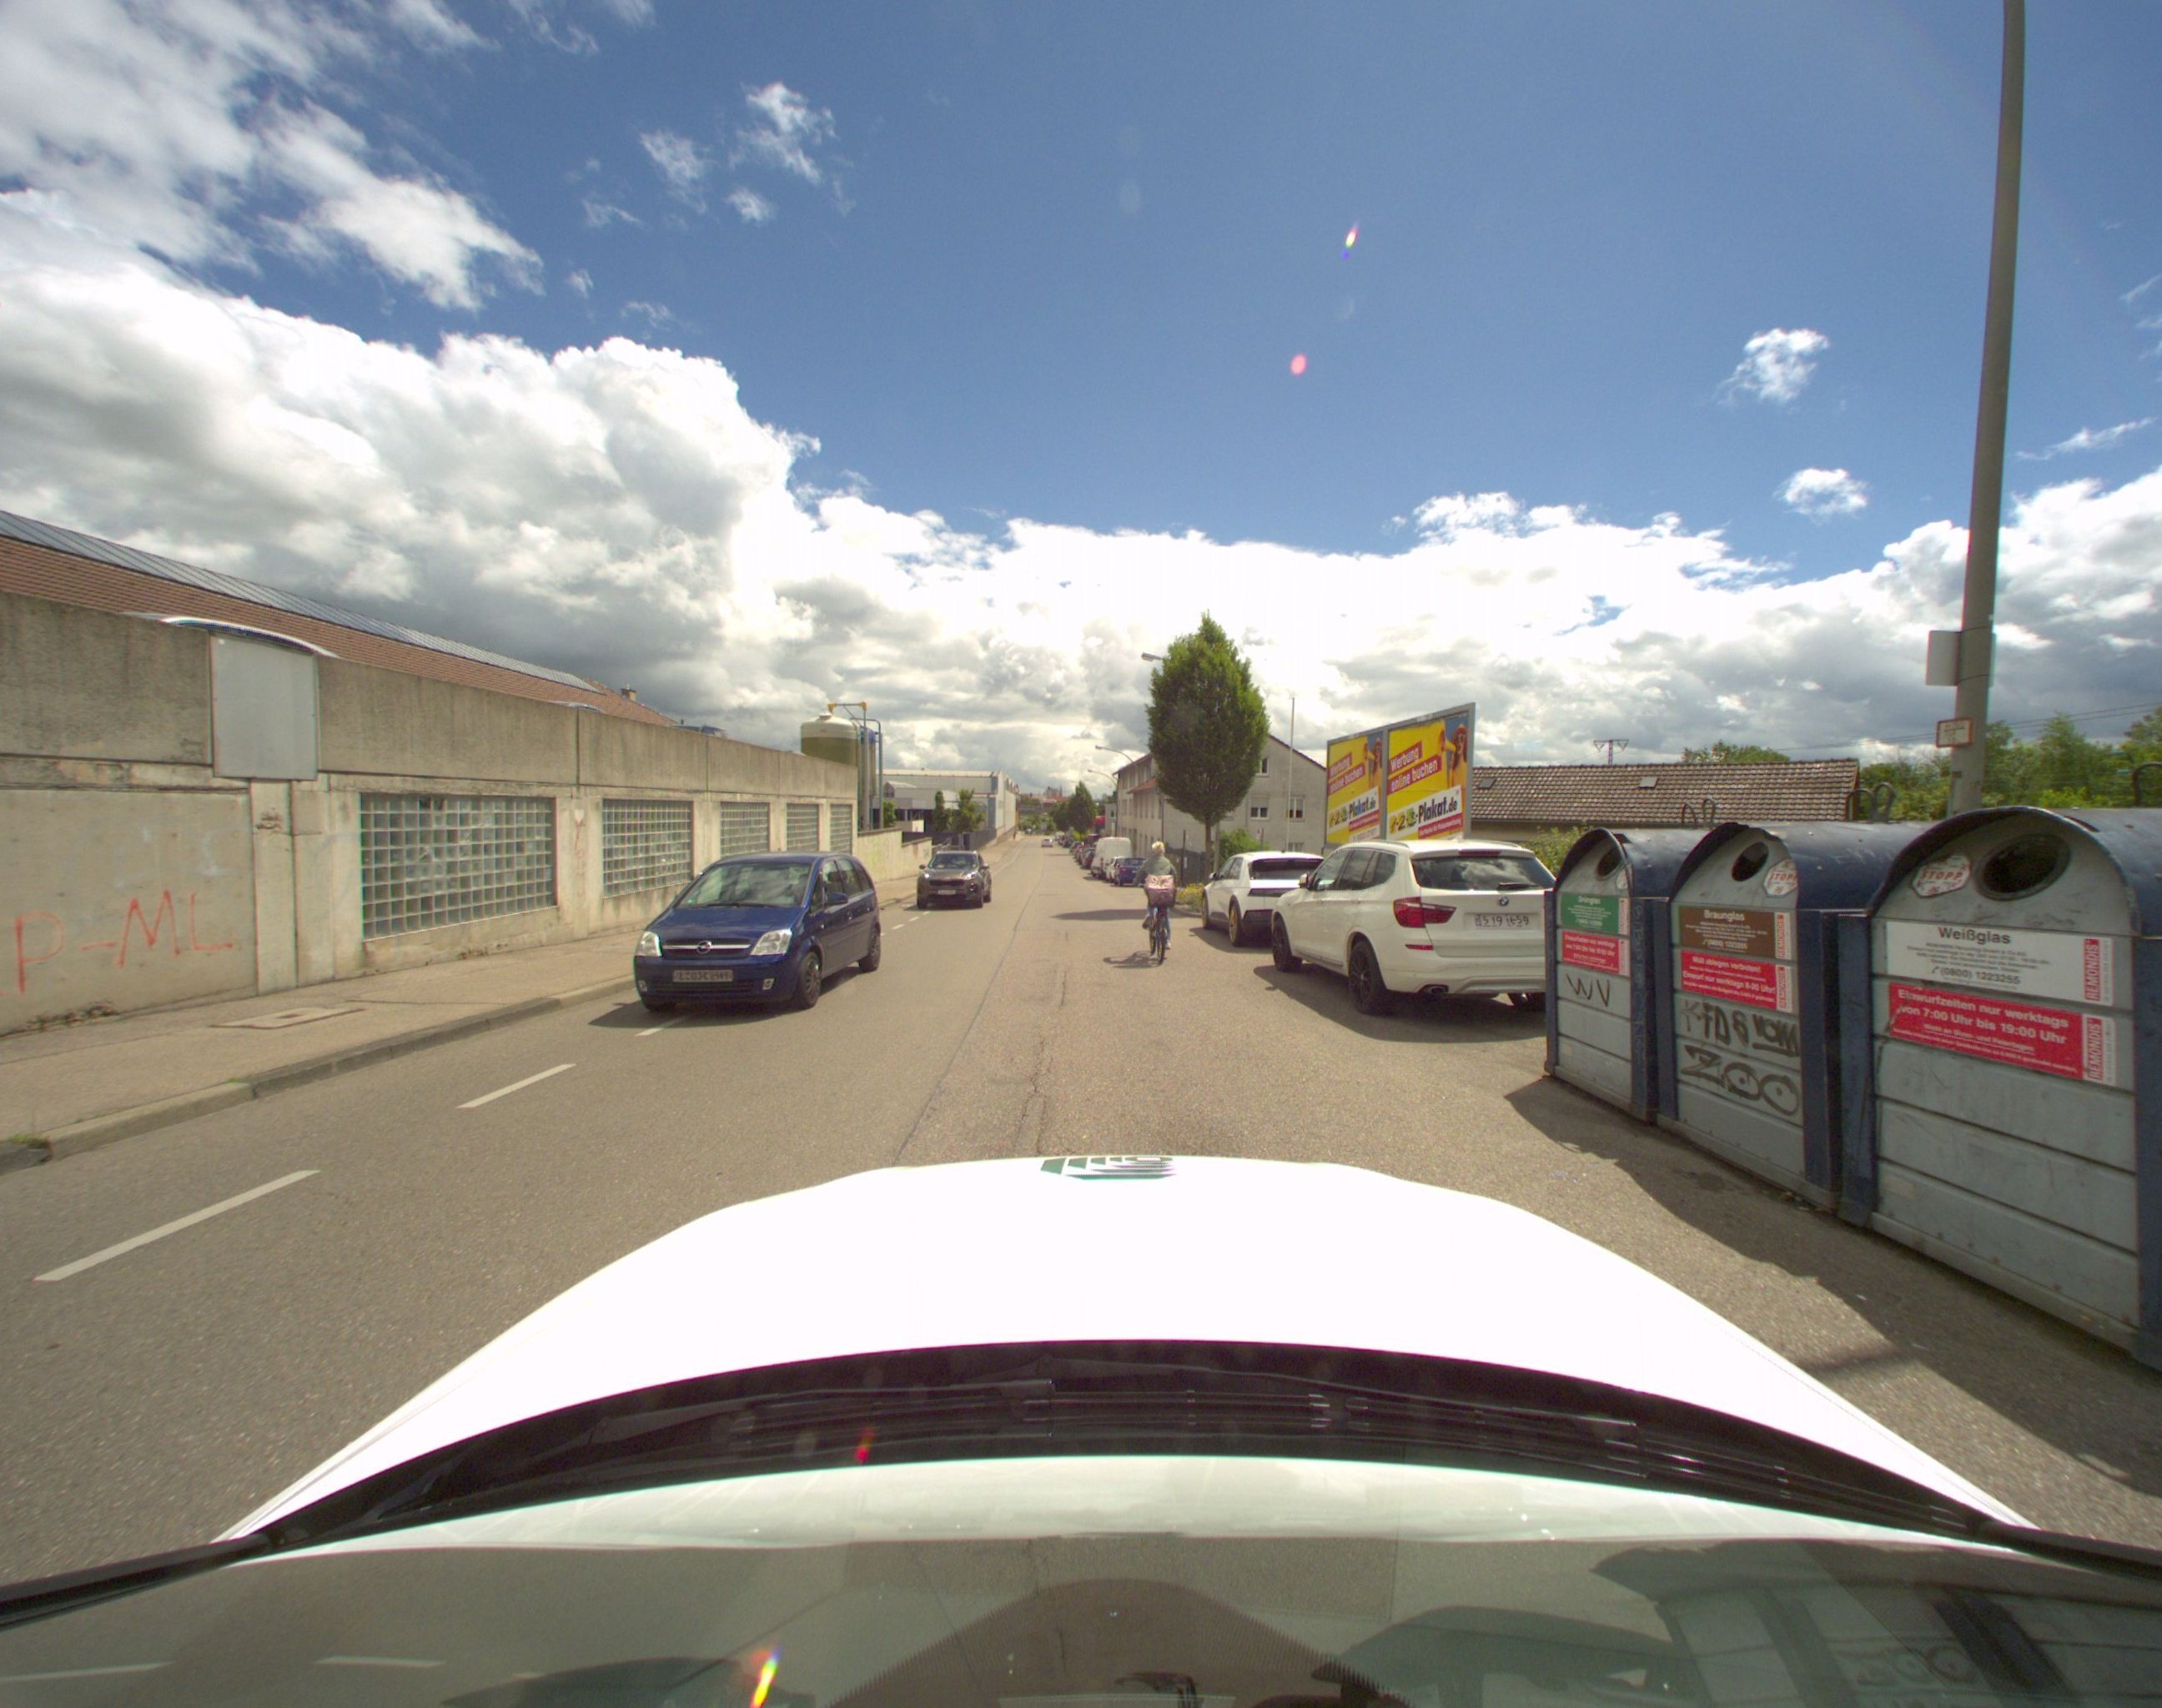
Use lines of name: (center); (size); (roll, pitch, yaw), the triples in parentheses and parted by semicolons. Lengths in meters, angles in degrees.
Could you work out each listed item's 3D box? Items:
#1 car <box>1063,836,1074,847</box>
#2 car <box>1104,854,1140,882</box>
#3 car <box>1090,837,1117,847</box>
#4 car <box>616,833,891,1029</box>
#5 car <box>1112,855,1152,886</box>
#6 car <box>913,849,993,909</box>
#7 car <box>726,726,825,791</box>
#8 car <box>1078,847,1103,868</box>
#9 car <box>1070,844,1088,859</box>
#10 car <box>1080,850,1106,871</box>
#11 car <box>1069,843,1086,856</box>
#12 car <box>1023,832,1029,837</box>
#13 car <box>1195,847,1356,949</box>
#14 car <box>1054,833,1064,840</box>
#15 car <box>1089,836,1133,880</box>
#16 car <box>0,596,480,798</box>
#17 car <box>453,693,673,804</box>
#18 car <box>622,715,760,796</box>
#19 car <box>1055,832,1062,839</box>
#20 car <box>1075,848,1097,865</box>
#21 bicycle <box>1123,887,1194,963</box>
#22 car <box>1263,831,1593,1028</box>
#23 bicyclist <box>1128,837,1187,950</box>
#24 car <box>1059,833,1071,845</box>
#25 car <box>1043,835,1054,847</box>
car: (-2.029, -1.997, 129.350); (1.675, 1.638, 4.121); (1, 1, -1)
car: (2.297, 0.797, 46.461); (1.590, 1.510, 3.784); (1, 0, -4)
car: (3.427, -1.798, 123.171); (1.735, 1.462, 4.026); (-4, 2, -42)
car: (-3.520, 0.732, 9.534); (1.621, 1.817, 3.780); (-1, 0, 1)
car: (2.562, 0.813, 41.624); (1.563, 1.510, 4.089); (1, 0, -3)
car: (-3.737, 0.684, 24.467); (1.794, 1.622, 4.091); (-1, 0, -1)
car: (-10.085, -3.108, 27.215); (1.801, 1.637, 4.102); (1, 0, -2)
car: (0.824, 0.253, 74.450); (1.675, 1.638, 4.786); (2, 2, -7)
car: (-0.238, -0.304, 86.706); (1.731, 1.472, 4.258); (1, 2, -3)
car: (1.009, 0.519, 68.877); (1.701, 1.509, 5.081); (3, 2, -4)
car: (-0.422, -0.597, 102.718); (1.788, 1.465, 4.701); (1, 1, -4)
car: (-17.073, -6.151, 254.594); (1.849, 1.486, 3.995); (1, 0, -4)
car: (3.354, 0.704, 14.969); (1.836, 1.565, 4.464); (-1, 0, -1)
car: (-5.080, -4.126, 188.141); (1.699, 1.527, 3.730); (3, 1, -7)
car: (1.869, 0.253, 52.635); (2.029, 2.641, 7.271); (1, 0, -4)
car: (-9.797, -1.675, 10.007); (1.801, 1.637, 4.102); (1, 0, -2)
car: (-10.059, -1.967, 16.248); (1.801, 1.637, 4.102); (1, 0, -2)
car: (-10.388, -2.572, 22.061); (1.801, 1.637, 4.102); (1, 0, -2)
car: (-5.537, -4.470, 198.908); (1.696, 1.527, 3.736); (1, 1, -2)
car: (0.473, 0.187, 80.019); (1.731, 1.423, 4.854); (2, 2, -4)
bicycle: (1.111, 1.009, 12.018); (0.739, 0.975, 1.729); (1, 0, -5)
car: (3.461, 0.648, 9.168); (1.681, 1.659, 4.476); (0, 0, -2)
bicyclist: (1.123, 0.574, 12.074); (0.738, 1.626, 0.730); (1, -1, -6)
car: (-2.881, -2.708, 144.141); (1.865, 1.990, 5.138); (1, 1, -3)
car: (-5.179, -2.064, 129.339); (1.563, 1.786, 3.601); (1, 0, -3)
